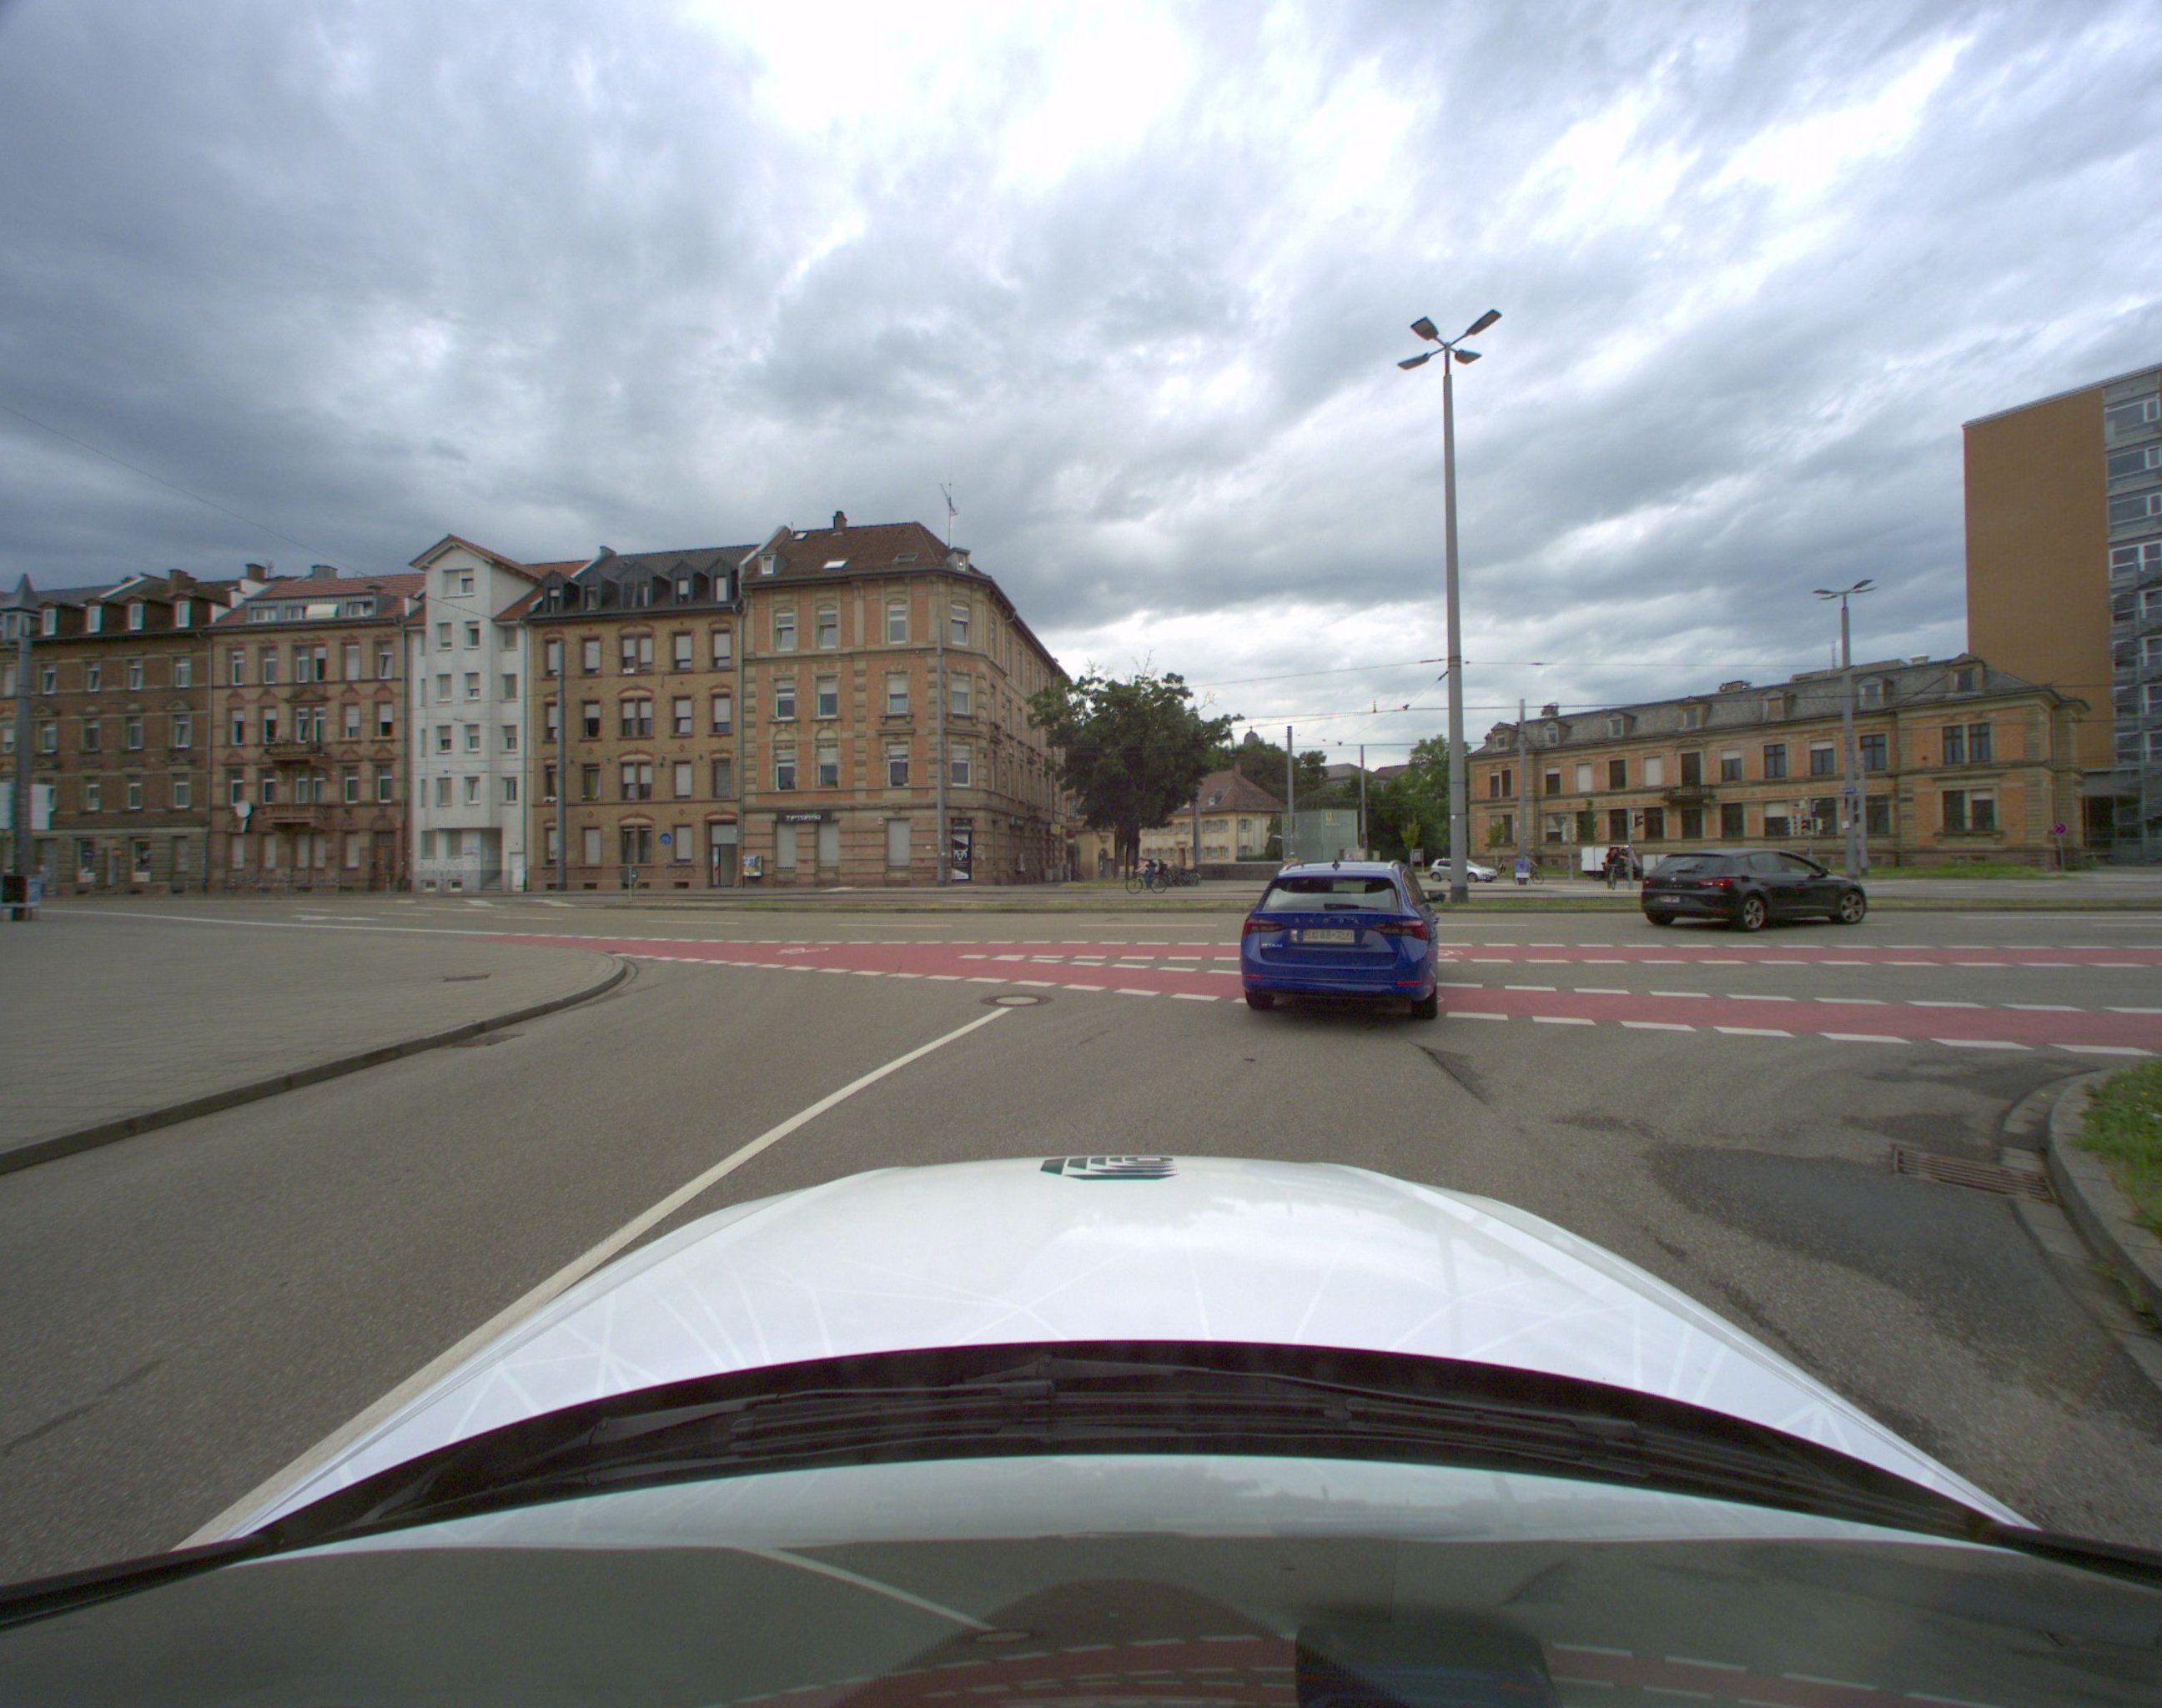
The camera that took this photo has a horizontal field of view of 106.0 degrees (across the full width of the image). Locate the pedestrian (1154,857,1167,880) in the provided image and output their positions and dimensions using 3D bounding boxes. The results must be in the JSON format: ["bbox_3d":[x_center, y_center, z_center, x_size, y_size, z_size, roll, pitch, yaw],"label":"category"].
[{"bbox_3d":[6.115,1.115,62.845,0.838,1.722,0.956,-1,-1,13],"label":"pedestrian"}]

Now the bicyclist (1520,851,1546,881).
[{"bbox_3d":[24.721,0.658,44.562,0.858,1.623,0.909,0,-2,-30],"label":"bicyclist"}]

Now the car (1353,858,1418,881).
[{"bbox_3d":[20.700,1.043,55.526,1.700,1.449,4.108,-1,0,-25],"label":"car"}]

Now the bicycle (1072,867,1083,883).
[{"bbox_3d":[-0.201,1.249,48.572,0.658,0.914,1.990,-1,0,1],"label":"bicycle"}]

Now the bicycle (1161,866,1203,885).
[{"bbox_3d":[5.456,1.175,43.941,2.195,1.006,0.482,-1,-1,19],"label":"bicycle"}]

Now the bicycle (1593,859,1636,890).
[{"bbox_3d":[22.389,0.876,34.207,0.808,1.243,2.006,-2,-2,12],"label":"bicycle"}]

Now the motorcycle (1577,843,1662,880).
[{"bbox_3d":[30.552,0.420,46.277,1.702,2.014,3.650,-1,-1,-31],"label":"motorcycle"}]

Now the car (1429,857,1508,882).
[{"bbox_3d":[23.815,0.930,50.134,1.767,1.454,4.121,-1,-1,-30],"label":"car"}]

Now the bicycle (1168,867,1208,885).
[{"bbox_3d":[6.236,1.285,47.526,2.195,0.987,0.588,-1,-1,19],"label":"bicycle"}]

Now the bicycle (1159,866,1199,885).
[{"bbox_3d":[5.229,1.135,43.418,2.014,0.987,0.524,-1,-1,19],"label":"bicycle"}]

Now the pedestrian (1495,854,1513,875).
[{"bbox_3d":[35.700,0.856,68.674,0.762,1.763,1.113,0,-1,-42],"label":"pedestrian"}]

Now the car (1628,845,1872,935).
[{"bbox_3d":[12.219,0.593,14.902,3.811,1.449,1.699,-1,0,-19],"label":"car"}]

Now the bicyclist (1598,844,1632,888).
[{"bbox_3d":[22.375,0.506,34.167,0.808,1.798,1.033,-2,-1,12],"label":"bicyclist"}]

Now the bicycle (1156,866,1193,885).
[{"bbox_3d":[4.912,1.120,42.721,1.848,0.987,0.502,-1,-1,17],"label":"bicycle"}]

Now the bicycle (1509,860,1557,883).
[{"bbox_3d":[24.717,0.954,44.559,0.860,1.208,2.176,0,-1,-30],"label":"bicycle"}]

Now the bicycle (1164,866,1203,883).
[{"bbox_3d":[6.118,1.248,48.752,2.195,0.987,0.588,-1,-1,19],"label":"bicycle"}]

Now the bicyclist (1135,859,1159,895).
[{"bbox_3d":[2.781,0.956,34.302,0.934,1.494,0.664,-1,-1,6],"label":"bicyclist"}]

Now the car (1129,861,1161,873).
[{"bbox_3d":[7.964,1.599,101.828,1.703,1.449,4.144,-1,0,-33],"label":"car"}]

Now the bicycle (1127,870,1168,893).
[{"bbox_3d":[2.817,1.166,34.297,1.705,0.915,0.608,-1,0,5],"label":"bicycle"}]

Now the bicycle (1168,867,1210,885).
[{"bbox_3d":[5.909,1.206,44.612,2.195,0.987,0.502,-1,-1,19],"label":"bicycle"}]

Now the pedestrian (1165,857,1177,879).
[{"bbox_3d":[7.251,1.146,65.312,0.838,1.722,0.956,-1,-1,13],"label":"pedestrian"}]

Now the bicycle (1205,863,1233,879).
[{"bbox_3d":[9.801,1.217,57.896,0.742,1.115,2.341,-1,-1,-28],"label":"bicycle"}]

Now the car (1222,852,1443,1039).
[{"bbox_3d":[2.968,0.751,8.892,1.764,1.488,4.490,-1,-1,24],"label":"car"}]
